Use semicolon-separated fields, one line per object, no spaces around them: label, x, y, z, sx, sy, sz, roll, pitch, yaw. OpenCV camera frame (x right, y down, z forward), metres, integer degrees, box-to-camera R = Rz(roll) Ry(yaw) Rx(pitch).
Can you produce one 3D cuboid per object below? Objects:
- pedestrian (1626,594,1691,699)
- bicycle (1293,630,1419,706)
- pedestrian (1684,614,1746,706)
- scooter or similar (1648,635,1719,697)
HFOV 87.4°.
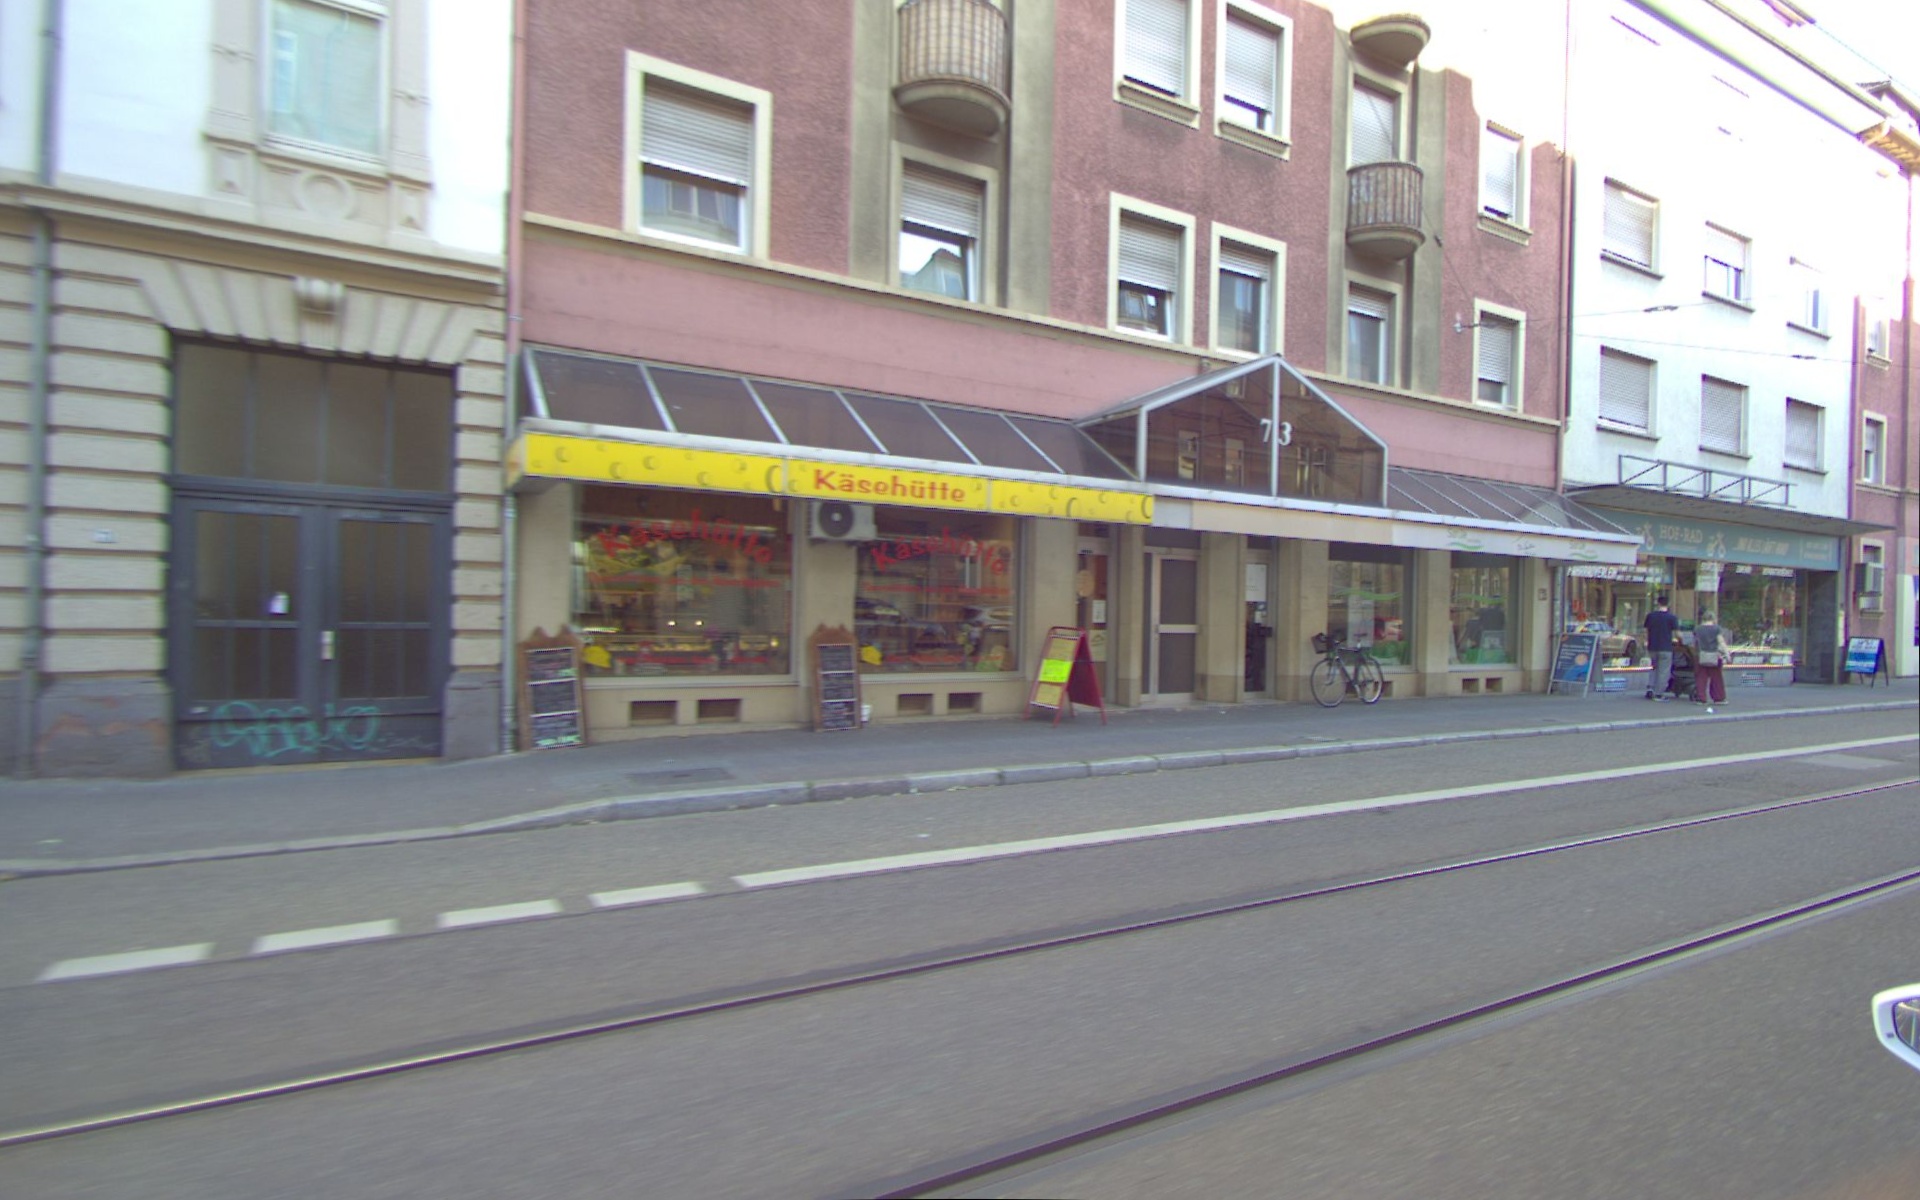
pedestrian;12.472;0.822;17.939;0.811;1.813;0.622;2;0;-30
bicycle;6.025;1.013;15.216;2.303;1.074;0.422;2;0;-31
pedestrian;13.258;1.044;17.642;0.616;1.569;0.633;2;0;-30
scooter or similar;13.309;1.201;18.478;1.092;1.075;0.658;1;1;-30
